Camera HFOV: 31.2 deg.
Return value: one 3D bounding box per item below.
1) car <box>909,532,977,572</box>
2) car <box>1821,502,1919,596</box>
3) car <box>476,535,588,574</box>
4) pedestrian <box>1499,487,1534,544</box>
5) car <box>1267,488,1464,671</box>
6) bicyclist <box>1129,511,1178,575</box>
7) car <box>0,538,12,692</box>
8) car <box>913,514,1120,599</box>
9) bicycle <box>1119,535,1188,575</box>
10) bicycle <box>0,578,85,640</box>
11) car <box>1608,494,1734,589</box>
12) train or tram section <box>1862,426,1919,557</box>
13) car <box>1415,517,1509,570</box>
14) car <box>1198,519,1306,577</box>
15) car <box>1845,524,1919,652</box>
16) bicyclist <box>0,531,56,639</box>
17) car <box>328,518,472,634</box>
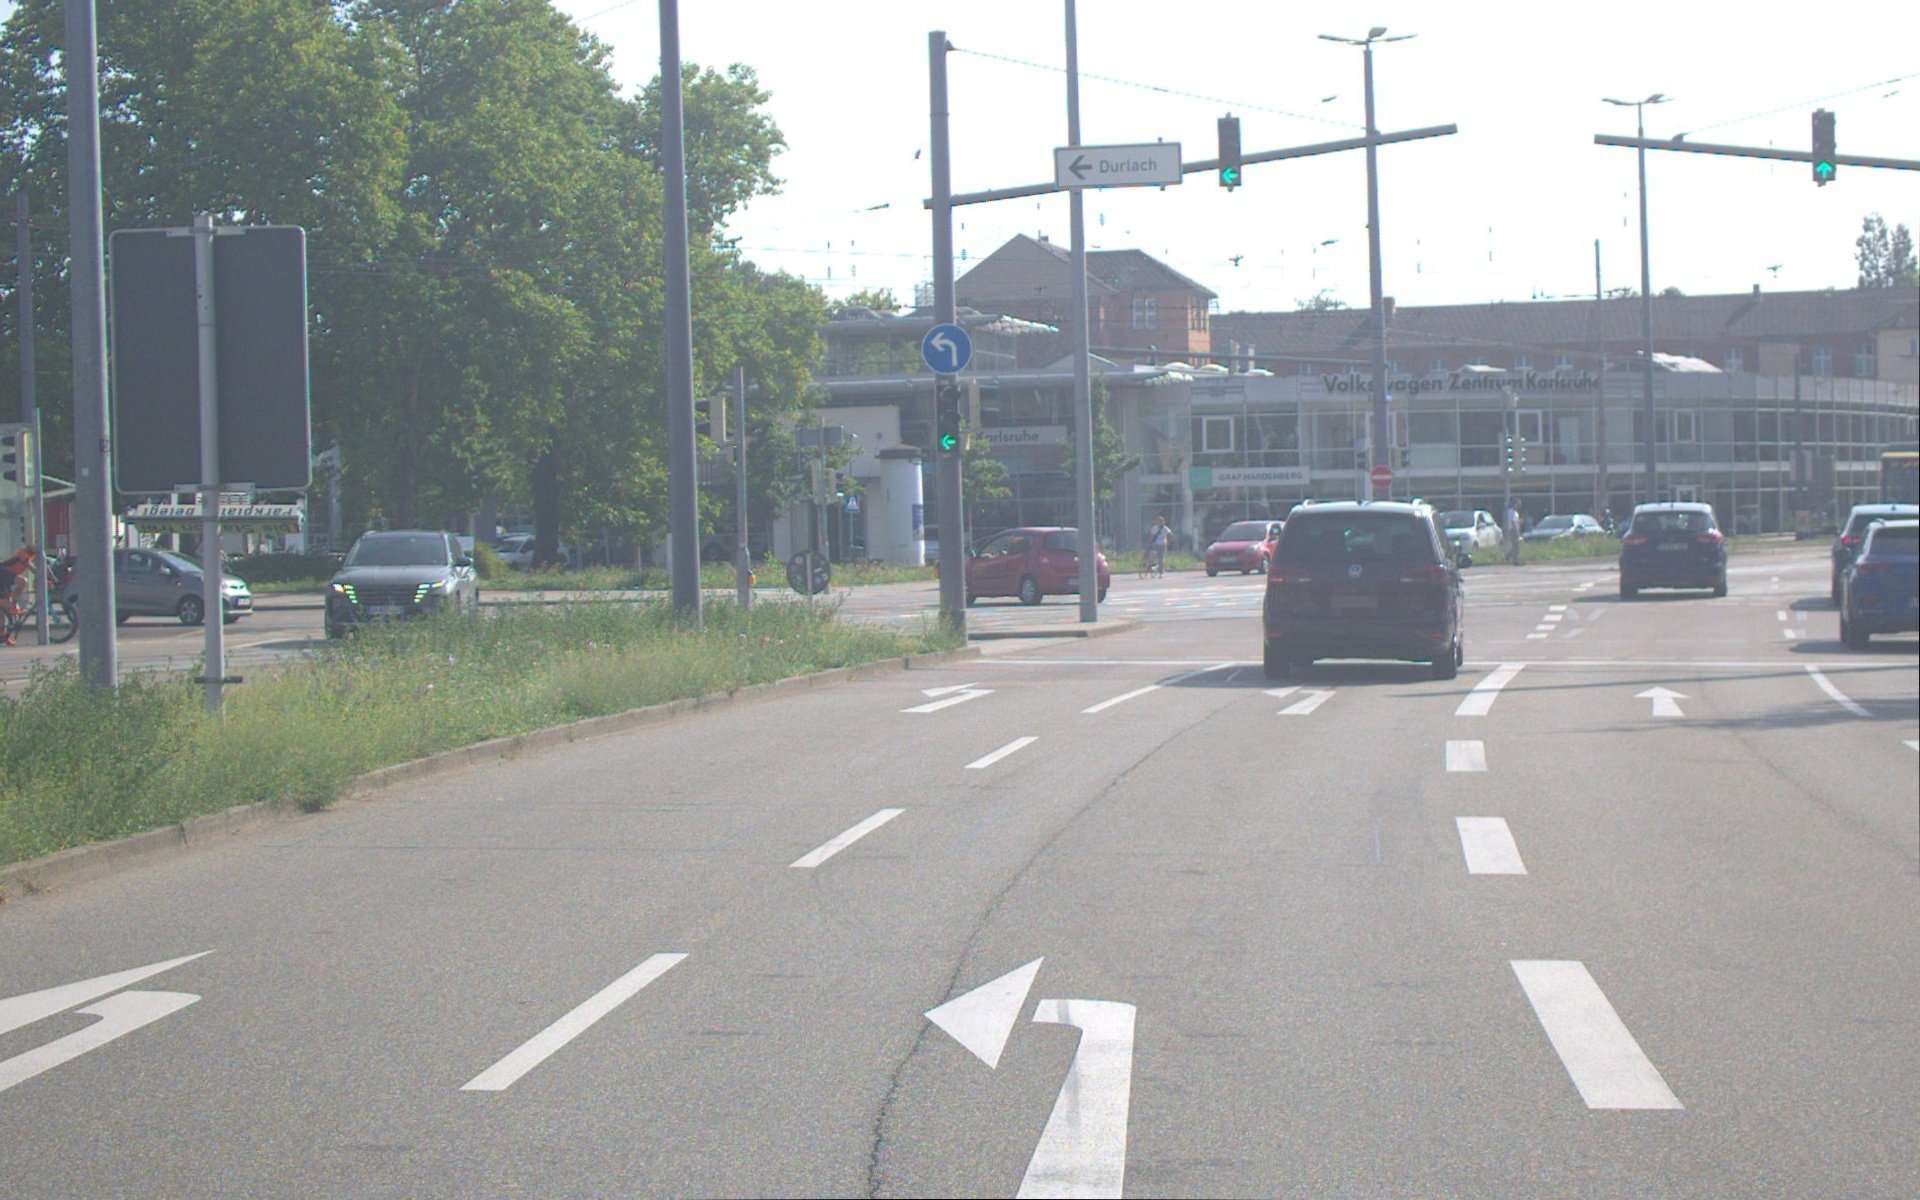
[{"bbox_3d":[-0.667,-1.896,135.634,1.700,1.517,4.097,0,1,14],"label":"car"},{"bbox_3d":[14.921,-0.854,55.751,1.826,1.423,4.410,-1,1,14],"label":"car"},{"bbox_3d":[-17.451,-1.846,140.384,1.704,1.517,4.504,0,2,42],"label":"car"},{"bbox_3d":[14.794,-2.239,91.389,0.778,1.498,0.709,-1,1,22],"label":"pedestrian"},{"bbox_3d":[4.101,-0.255,34.348,1.826,1.708,4.411,0,2,8],"label":"car"},{"bbox_3d":[5.332,-1.585,94.886,0.959,1.742,1.165,0,1,26],"label":"bicyclist"},{"bbox_3d":[-9.942,0.197,30.180,1.814,1.428,4.224,-1,1,4],"label":"car"},{"bbox_3d":[1.033,-0.825,65.441,1.825,1.530,4.412,-2,2,-32],"label":"car"},{"bbox_3d":[5.348,-1.253,94.918,0.959,1.053,2.604,0,1,26],"label":"bicycle"},{"bbox_3d":[-14.520,0.143,53.063,1.812,0.929,0.726,-1,1,-1],"label":"bicycle"},{"bbox_3d":[12.332,-1.038,59.440,1.827,1.530,4.409,-1,1,15],"label":"car"},{"bbox_3d":[29.794,-3.277,102.604,2.659,3.686,10.572,-1,2,31],"label":"train or tram section"},{"bbox_3d":[14.885,-1.679,101.759,1.616,1.470,3.995,-3,0,25],"label":"car"},{"bbox_3d":[8.032,-1.440,94.324,1.616,1.470,3.995,-3,0,25],"label":"car"},{"bbox_3d":[11.802,-0.196,41.750,1.826,1.423,4.410,-1,1,12],"label":"car"},{"bbox_3d":[-14.502,-0.238,53.059,0.881,1.646,0.726,-1,1,-1],"label":"bicyclist"},{"bbox_3d":[-8.237,-0.380,50.825,1.693,1.612,4.462,-1,1,-4],"label":"car"}]
